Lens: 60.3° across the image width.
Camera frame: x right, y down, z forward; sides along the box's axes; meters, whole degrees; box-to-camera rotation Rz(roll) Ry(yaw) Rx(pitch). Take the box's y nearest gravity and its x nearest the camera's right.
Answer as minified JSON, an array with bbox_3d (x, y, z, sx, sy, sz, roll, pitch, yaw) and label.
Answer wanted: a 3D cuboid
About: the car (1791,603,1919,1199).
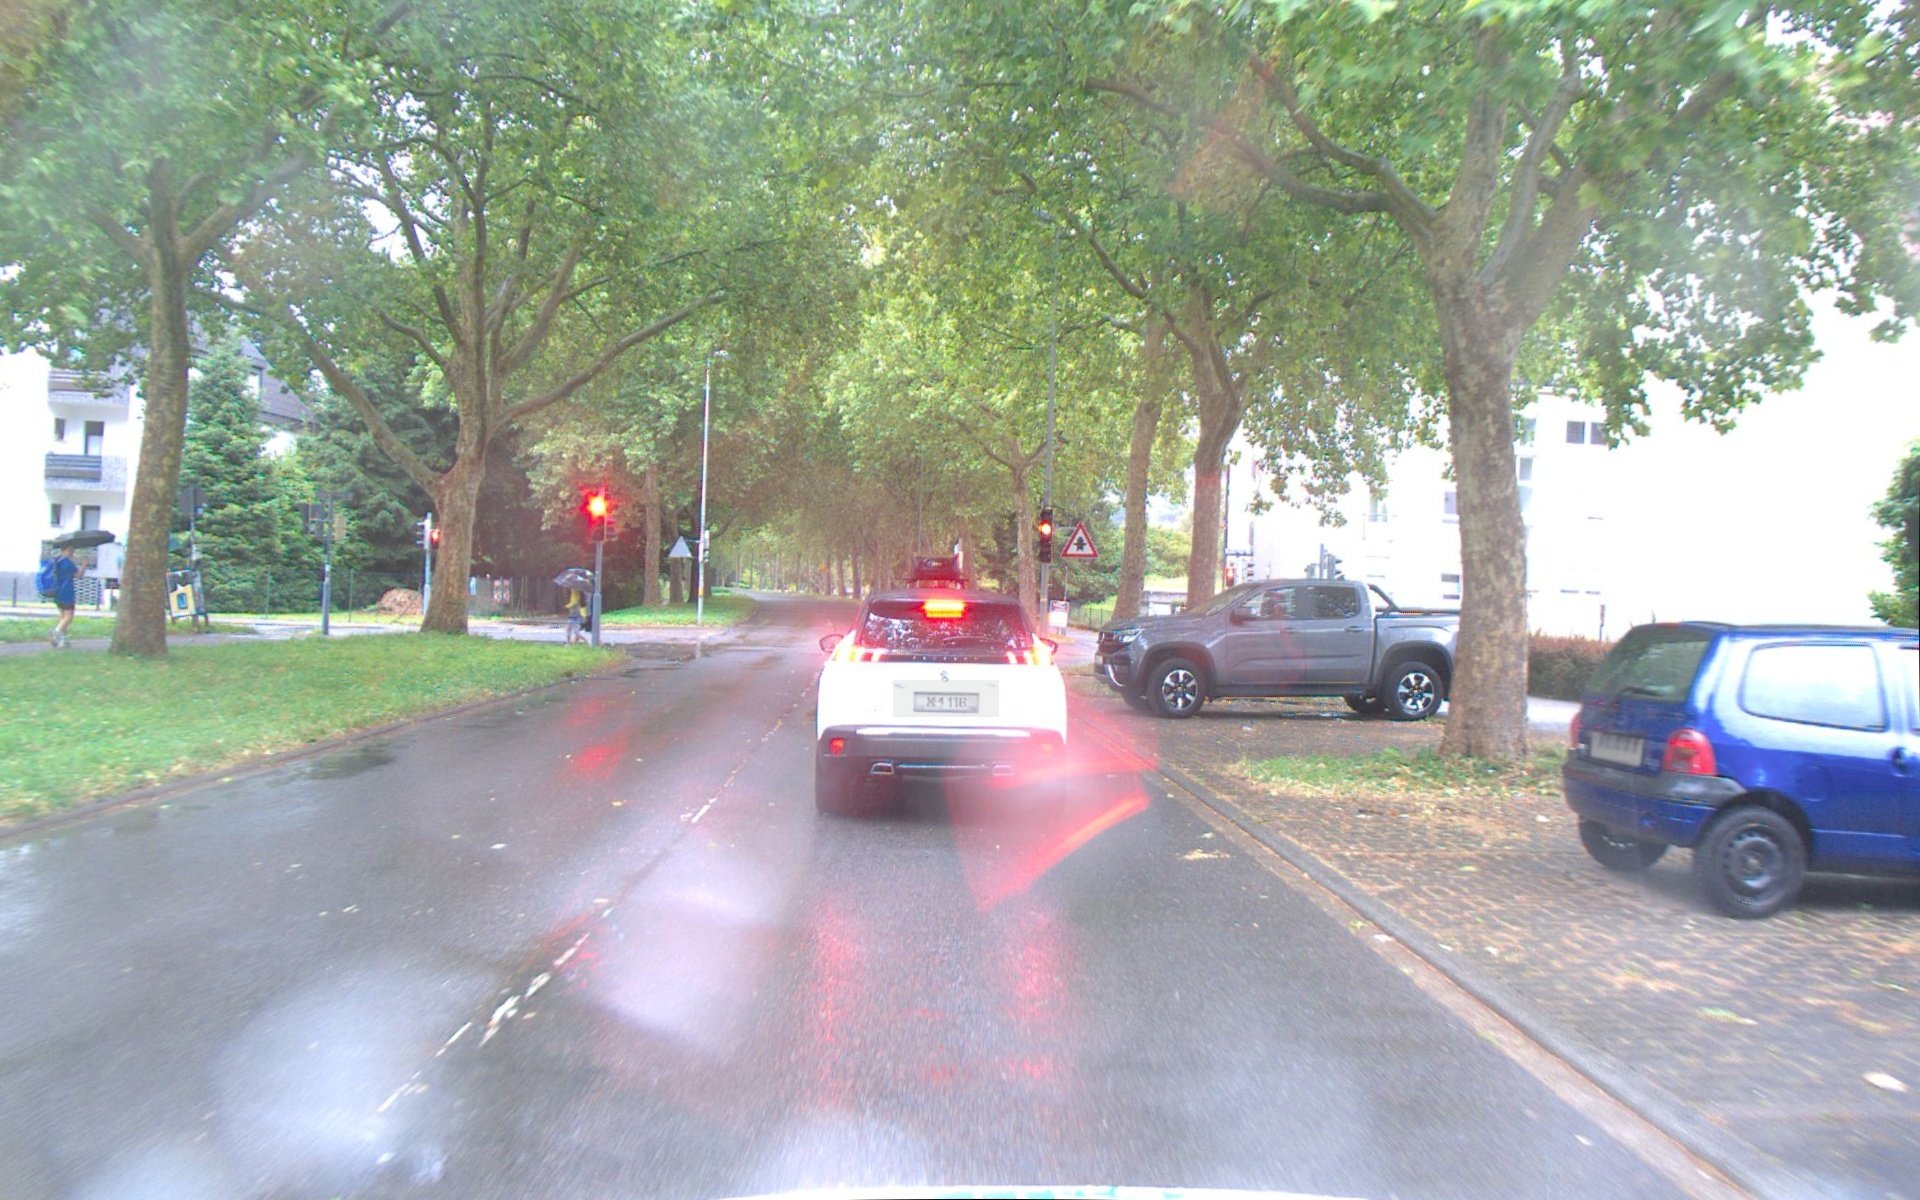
[{"bbox_3d":[4.724,0.809,3.857,4.674,1.498,1.935,1,0,-6],"label":"car"}]

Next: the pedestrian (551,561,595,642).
[{"bbox_3d":[-8.598,0.032,36.771,0.804,1.775,0.639,2,0,-4],"label":"pedestrian"}]

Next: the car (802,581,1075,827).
[{"bbox_3d":[-0.171,0.662,12.791,1.744,1.563,4.057,1,0,-1],"label":"car"}]

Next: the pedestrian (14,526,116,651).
[{"bbox_3d":[-13.319,-0.173,24.642,1.012,1.796,0.879,1,0,-1],"label":"pedestrian"}]

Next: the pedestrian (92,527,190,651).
[{"bbox_3d":[-12.179,-0.166,24.622,1.012,1.796,0.838,1,0,-1],"label":"pedestrian"}]

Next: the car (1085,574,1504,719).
[{"bbox_3d":[4.439,0.596,22.279,5.238,1.838,1.842,0,0,-8],"label":"car"}]

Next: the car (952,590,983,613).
[{"bbox_3d":[0.504,0.079,117.988,1.868,1.536,3.928,2,0,-5],"label":"car"}]

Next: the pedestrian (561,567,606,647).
[{"bbox_3d":[-8.580,0.157,37.733,0.842,1.775,0.639,2,0,-4],"label":"pedestrian"}]

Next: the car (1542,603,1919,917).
[{"bbox_3d":[5.096,0.815,8.956,3.288,1.489,1.618,2,0,-2],"label":"car"}]
